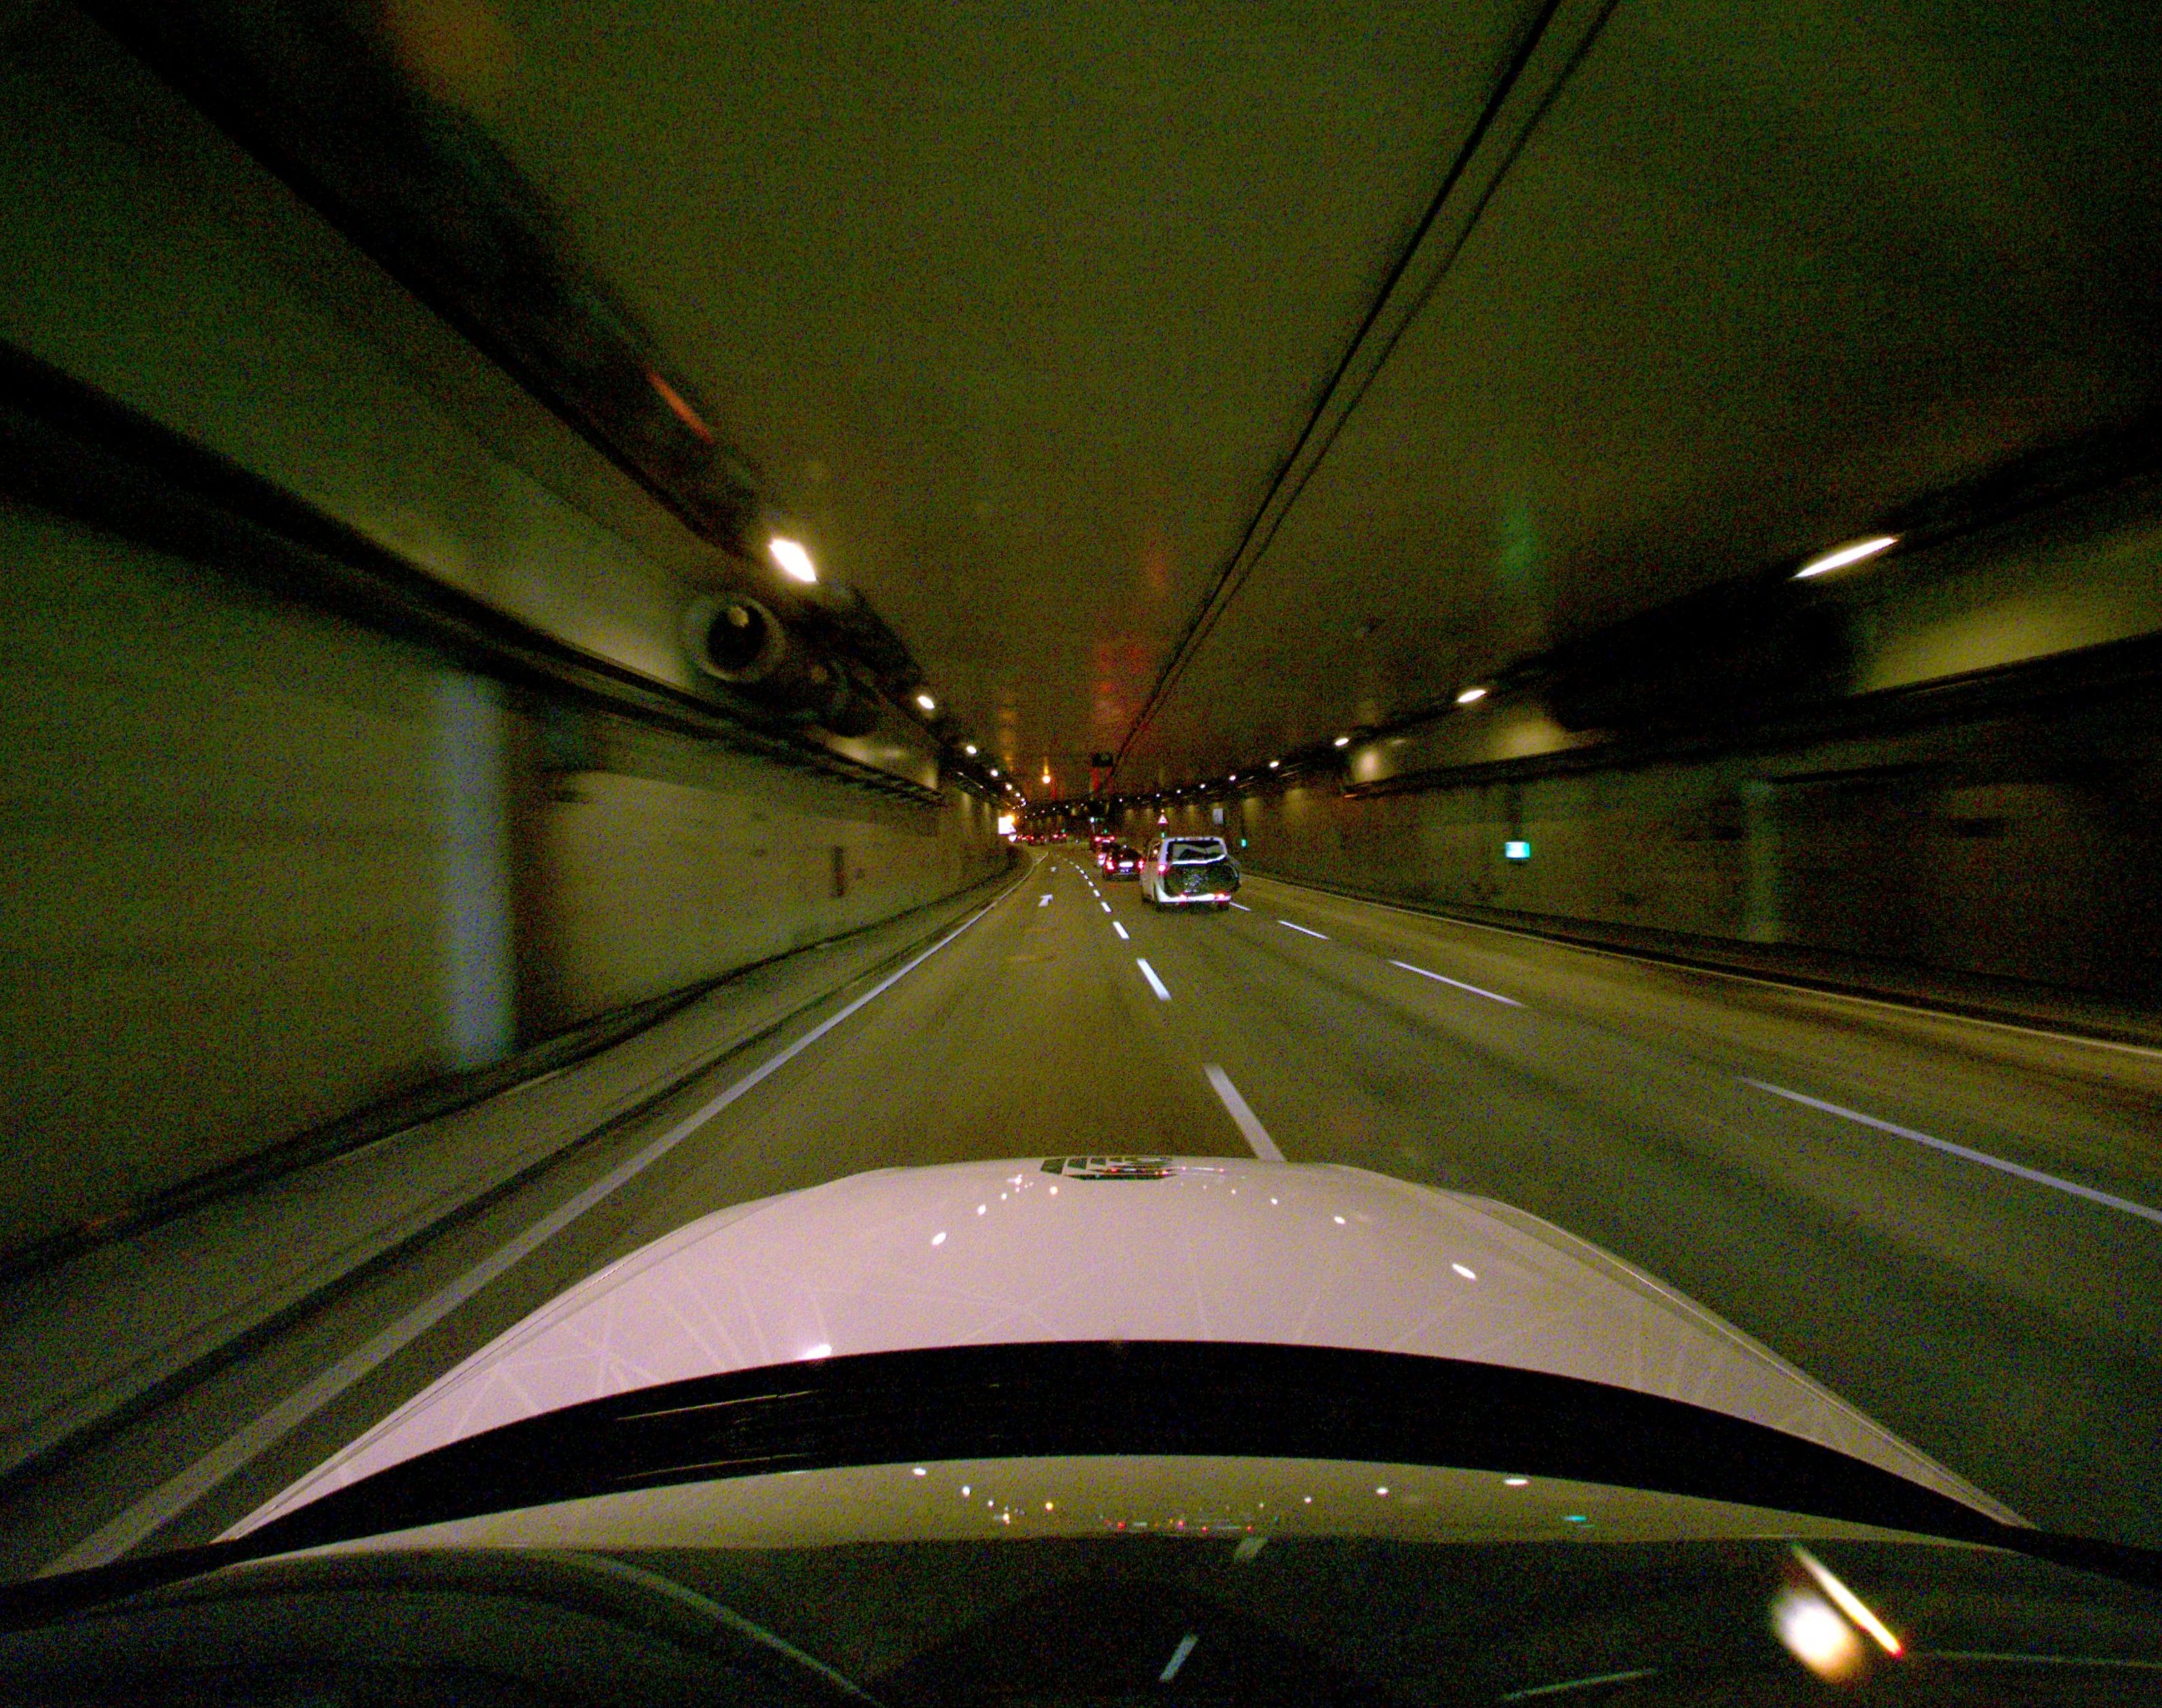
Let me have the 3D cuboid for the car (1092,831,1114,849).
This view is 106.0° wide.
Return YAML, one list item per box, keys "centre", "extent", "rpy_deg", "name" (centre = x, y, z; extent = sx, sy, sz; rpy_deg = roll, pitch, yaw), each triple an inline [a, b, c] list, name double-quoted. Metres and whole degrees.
- centre: [2.107, -1.345, 78.062]
  extent: [1.602, 1.630, 3.347]
  rpy_deg: [-1, 0, -8]
  name: "car"

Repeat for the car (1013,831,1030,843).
- centre: [-8.388, -2.362, 114.302]
  extent: [1.824, 1.630, 3.828]
  rpy_deg: [-1, 0, -12]
  name: "car"

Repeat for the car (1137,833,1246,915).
- centre: [2.718, 0.438, 21.335]
  extent: [1.988, 1.847, 5.298]
  rpy_deg: [-1, 1, -1]
  name: "car"

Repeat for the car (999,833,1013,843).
- centre: [-12.481, -2.651, 135.928]
  extent: [1.825, 1.630, 3.826]
  rpy_deg: [-1, 0, -14]
  name: "car"

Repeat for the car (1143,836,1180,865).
- centre: [5.048, -0.209, 51.442]
  extent: [1.867, 1.761, 3.997]
  rpy_deg: [-1, 0, -2]
  name: "car"

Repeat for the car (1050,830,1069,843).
- centre: [-2.796, -2.204, 104.616]
  extent: [1.823, 1.630, 3.829]
  rpy_deg: [-1, 0, -11]
  name: "car"

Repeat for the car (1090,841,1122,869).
- centre: [1.480, 0.034, 49.515]
  extent: [1.599, 1.594, 3.352]
  rpy_deg: [-1, 1, -3]
  name: "car"

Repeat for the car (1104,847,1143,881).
- centre: [1.866, 0.419, 36.700]
  extent: [1.597, 1.395, 3.277]
  rpy_deg: [-1, 1, 0]
  name: "car"

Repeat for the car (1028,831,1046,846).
- centre: [-5.297, -1.834, 97.367]
  extent: [1.822, 1.630, 3.831]
  rpy_deg: [-1, 0, -9]
  name: "car"
